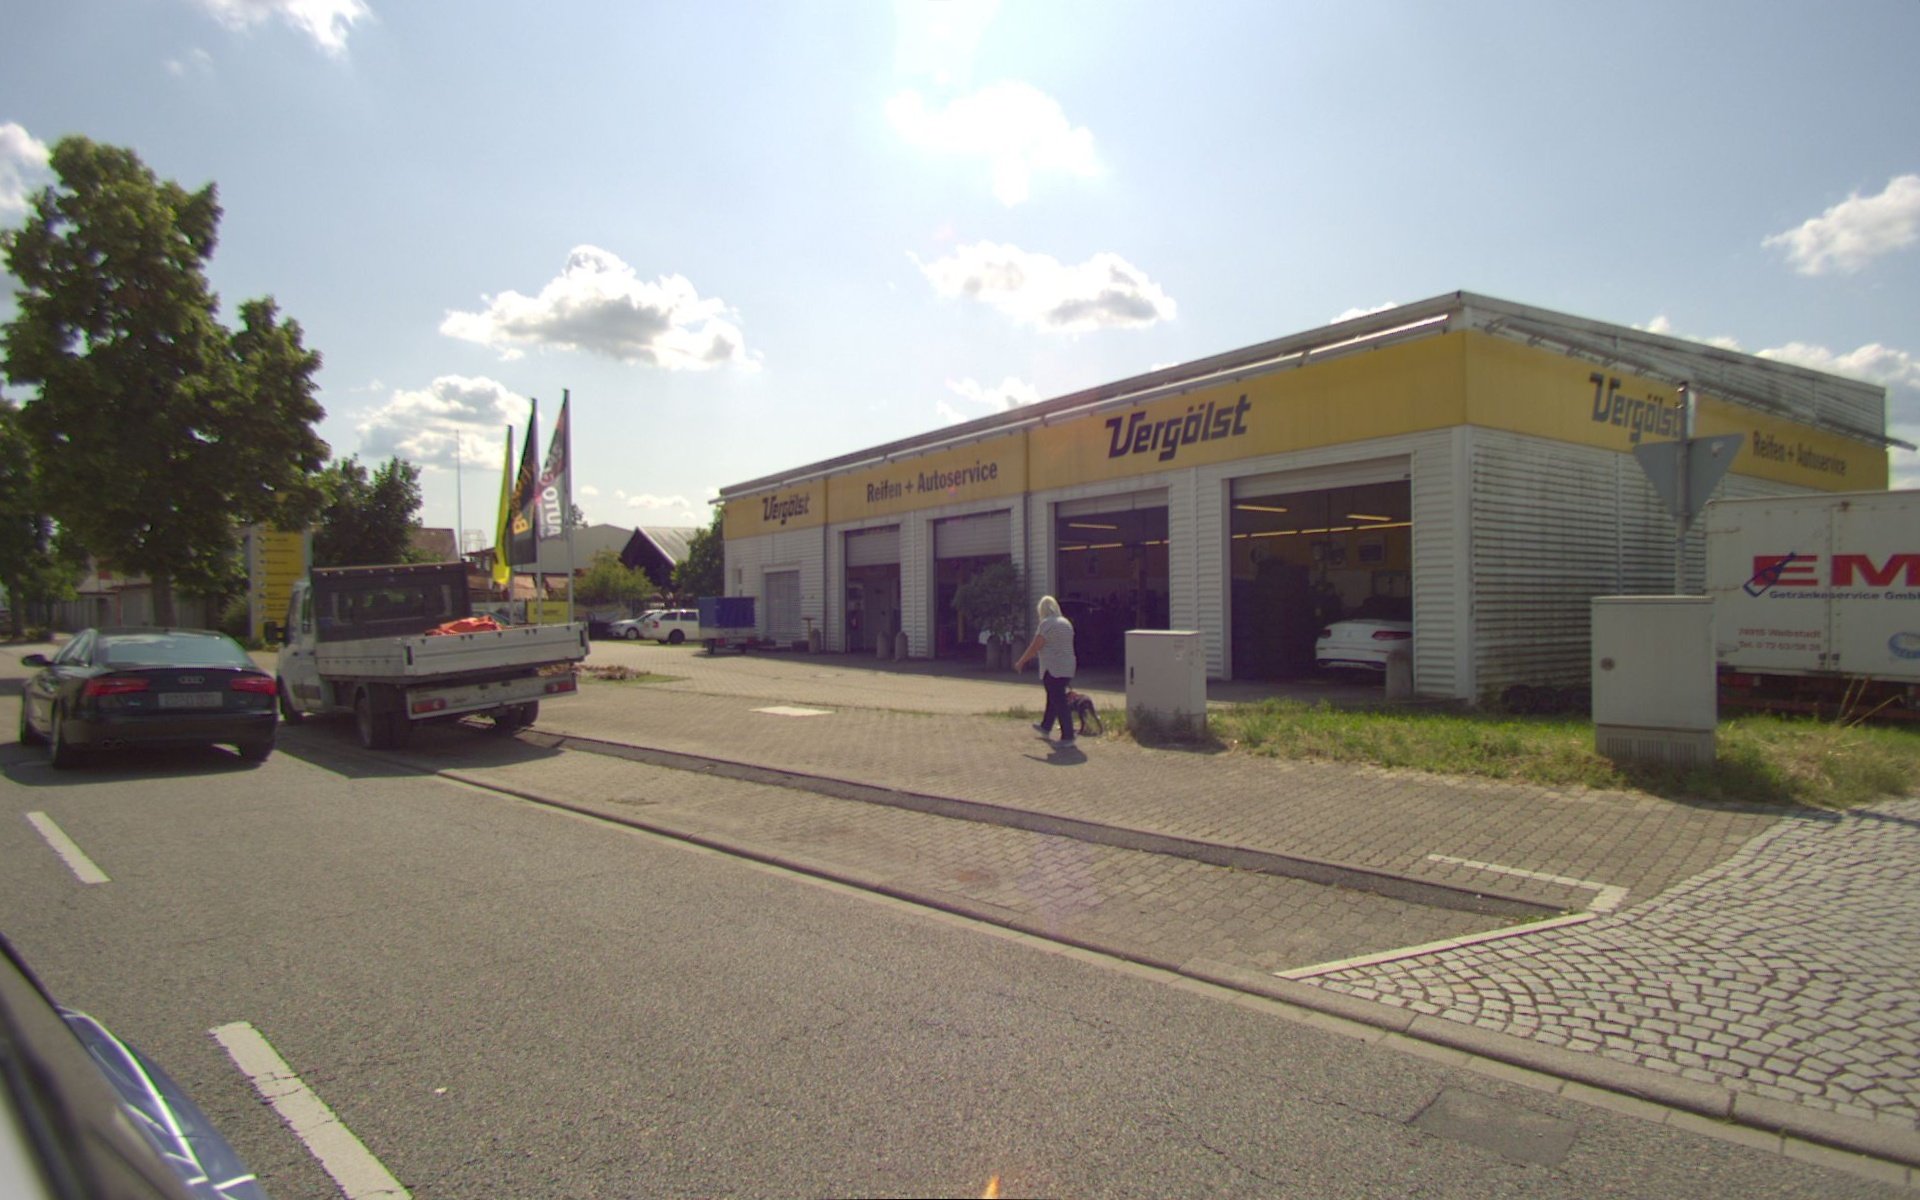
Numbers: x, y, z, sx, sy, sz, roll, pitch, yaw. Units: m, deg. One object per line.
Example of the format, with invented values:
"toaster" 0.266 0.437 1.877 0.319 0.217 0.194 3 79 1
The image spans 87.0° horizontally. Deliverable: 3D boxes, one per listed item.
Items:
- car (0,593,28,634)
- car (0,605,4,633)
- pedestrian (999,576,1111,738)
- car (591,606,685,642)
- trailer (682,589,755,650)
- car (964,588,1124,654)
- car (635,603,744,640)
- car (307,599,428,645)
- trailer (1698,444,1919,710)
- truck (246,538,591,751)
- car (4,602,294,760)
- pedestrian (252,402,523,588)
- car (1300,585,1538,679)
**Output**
"car" -55.884 0.779 58.983 1.968 2.320 4.008 -1 0 -38
"car" -59.401 1.158 61.607 1.631 1.708 3.317 -1 0 -42
"pedestrian" 0.958 0.550 10.251 0.918 1.557 0.653 -1 0 43
"car" -15.544 1.125 48.981 3.939 1.622 1.852 -1 0 -42
"trailer" -7.234 0.540 30.179 1.249 1.704 2.978 -2 1 -31
"car" 2.063 0.461 24.449 3.524 1.447 1.795 -1 0 -36
"car" -11.499 0.875 43.127 4.212 1.494 1.675 0 0 -34
"car" -24.138 0.855 41.307 4.034 1.726 1.682 -1 0 -40
"trailer" 12.544 -0.286 13.367 6.432 2.873 2.765 -1 0 -37
"truck" -7.887 0.473 14.170 7.352 2.255 2.104 -1 2 45
"car" -9.256 0.808 11.423 4.307 1.449 1.766 -1 -3 41
"pedestrian" -7.603 -1.198 13.289 4.001 2.029 1.972 0 2 43
"car" 7.835 0.467 17.185 3.934 1.411 1.983 -1 0 -36
